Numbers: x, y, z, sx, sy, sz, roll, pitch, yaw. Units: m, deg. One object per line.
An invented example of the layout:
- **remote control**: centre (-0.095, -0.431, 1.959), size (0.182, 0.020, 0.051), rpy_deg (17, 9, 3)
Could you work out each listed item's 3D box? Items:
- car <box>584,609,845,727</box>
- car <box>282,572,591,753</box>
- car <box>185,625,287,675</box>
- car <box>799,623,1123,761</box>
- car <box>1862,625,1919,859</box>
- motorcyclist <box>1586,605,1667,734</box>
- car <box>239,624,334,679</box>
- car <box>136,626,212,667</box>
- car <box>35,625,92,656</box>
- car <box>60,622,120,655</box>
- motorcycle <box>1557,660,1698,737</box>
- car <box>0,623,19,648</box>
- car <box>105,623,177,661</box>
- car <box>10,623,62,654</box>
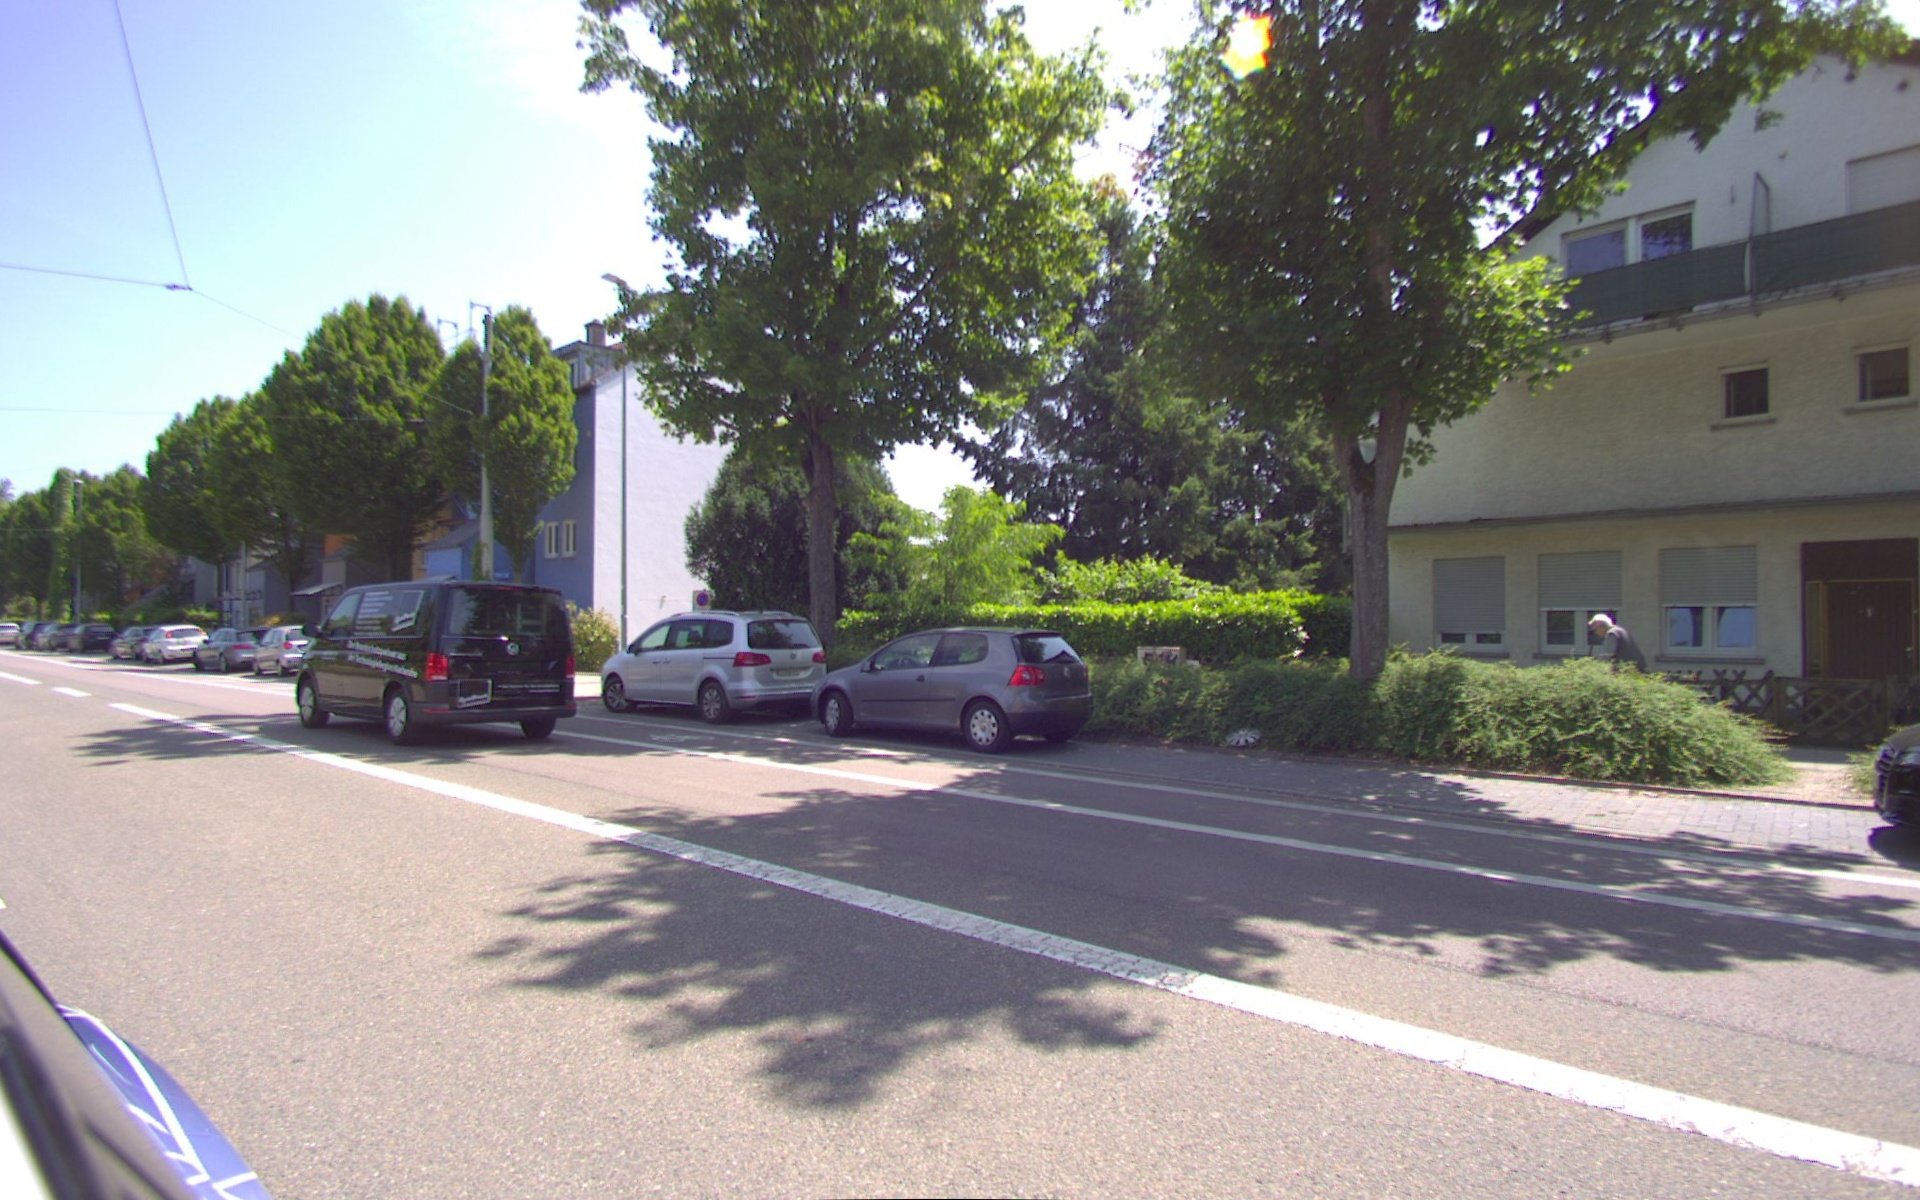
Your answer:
- **car**: centre (-4.205, 1.028, 16.878), size (4.686, 1.701, 1.950), rpy_deg (-1, -1, 42)
- **car**: centre (-6.825, 0.750, 12.993), size (4.568, 1.925, 1.898), rpy_deg (-1, -4, 41)
- **car**: centre (-24.718, 1.644, 34.484), size (4.634, 1.507, 1.659), rpy_deg (-1, 1, 39)
- **car**: centre (-0.102, 1.068, 13.125), size (4.125, 1.498, 1.659), rpy_deg (-1, -1, 40)
- **car**: centre (8.485, 0.887, 5.791), size (4.804, 1.467, 1.876), rpy_deg (-1, -1, 38)
- **motorcyclist**: centre (8.214, 0.835, 12.469), size (0.725, 1.514, 0.580), rpy_deg (-2, 0, 42)
- **car**: centre (-20.787, 1.550, 31.203), size (3.279, 1.507, 1.487), rpy_deg (-1, 2, 39)
- **car**: centre (-32.019, 1.864, 41.191), size (3.646, 1.507, 1.636), rpy_deg (-1, 1, 39)
- **car**: centre (-48.479, 2.176, 54.704), size (4.078, 1.507, 1.636), rpy_deg (-1, 1, 39)
- **car**: centre (-44.826, 1.957, 52.107), size (4.078, 1.507, 1.636), rpy_deg (-1, 1, 39)
- **motorcycle**: centre (8.213, 1.188, 12.479), size (1.370, 0.832, 0.520), rpy_deg (-2, 0, 42)
- **car**: centre (-62.598, 2.314, 65.623), size (4.078, 1.507, 1.702), rpy_deg (-1, 1, 39)
- **car**: centre (-36.298, 1.846, 44.826), size (4.078, 1.507, 1.636), rpy_deg (-1, 1, 39)
- **car**: centre (-53.550, 2.211, 58.640), size (4.078, 1.599, 1.636), rpy_deg (-1, 1, 39)
